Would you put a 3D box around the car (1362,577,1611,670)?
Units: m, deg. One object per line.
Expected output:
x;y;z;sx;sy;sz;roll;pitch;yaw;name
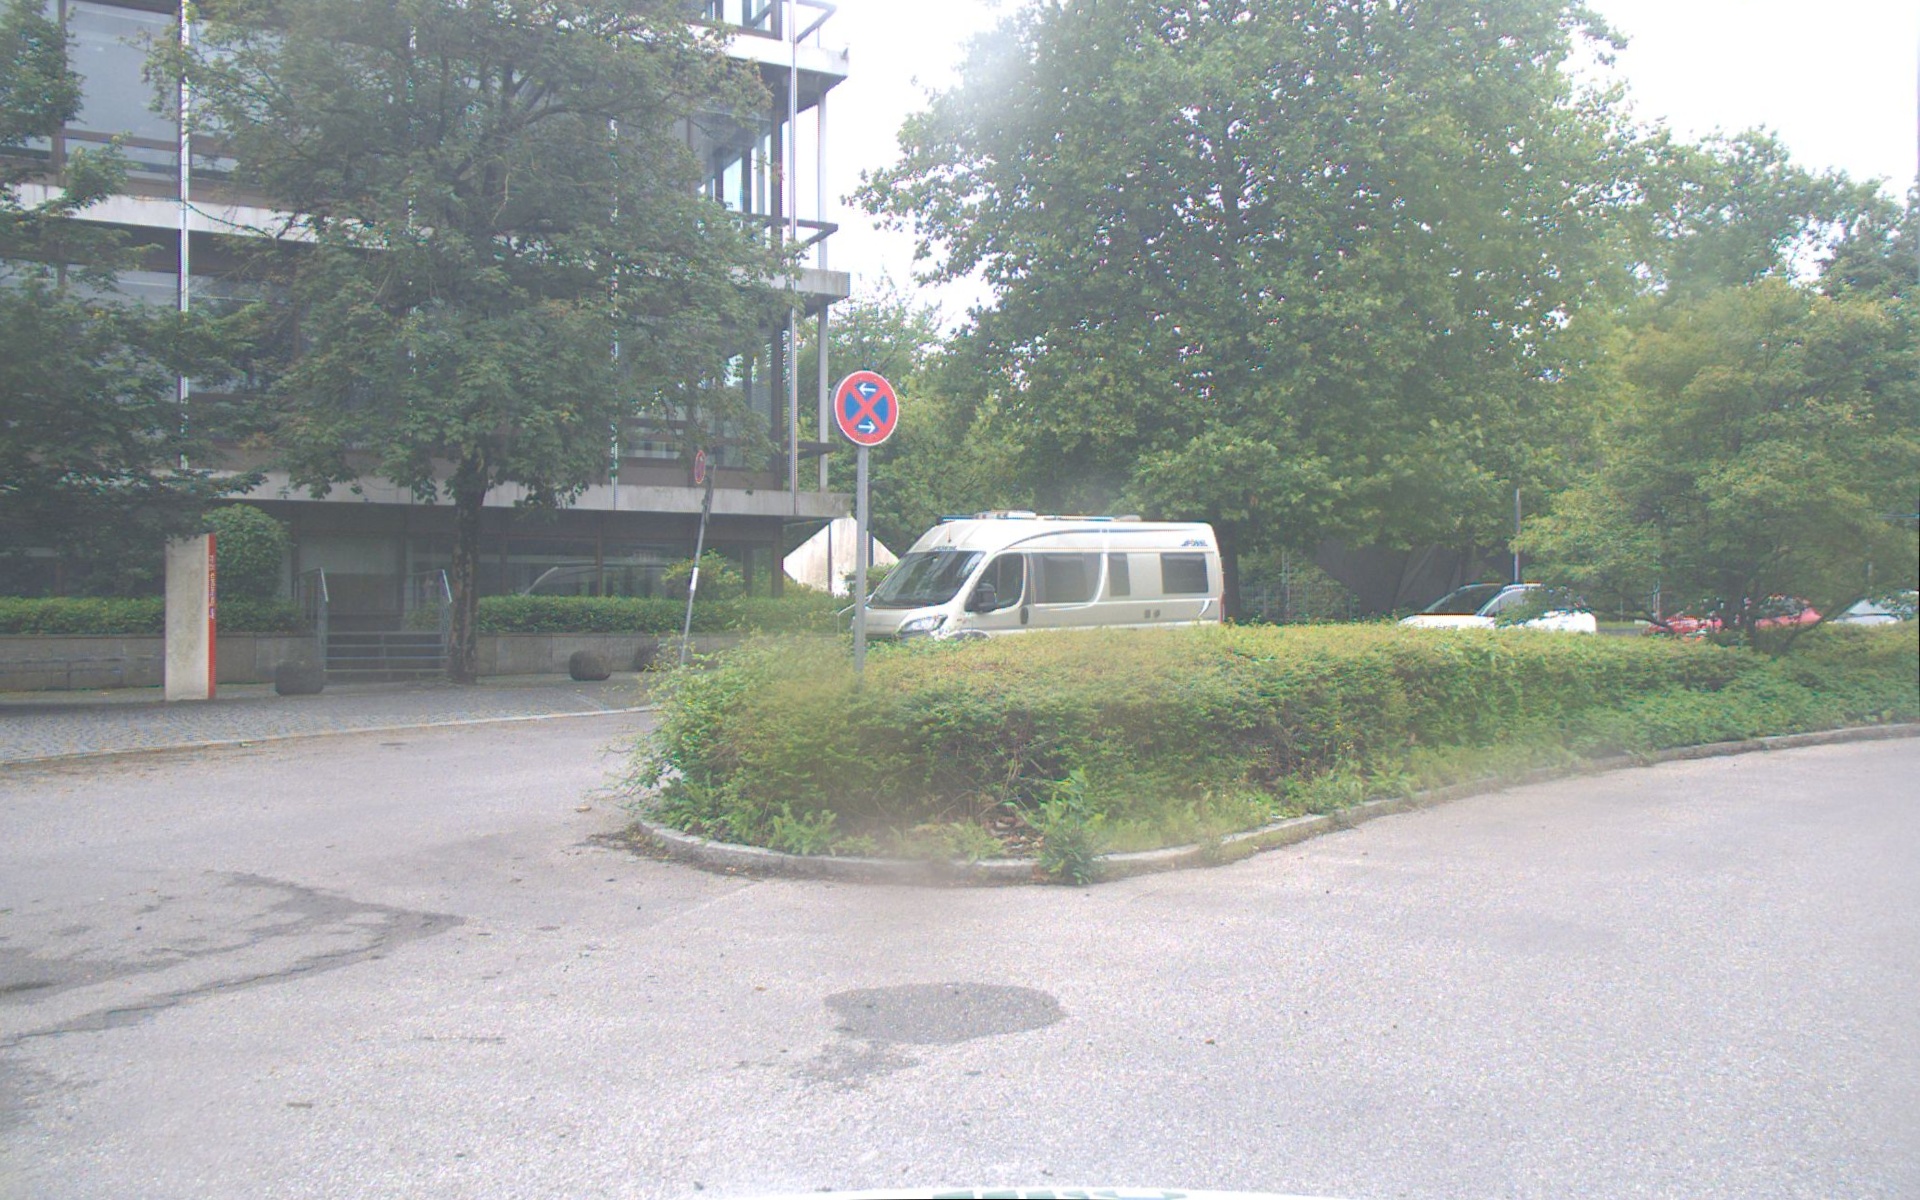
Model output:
9.259;0.382;29.082;3.940;1.534;1.982;0;0;-27;car

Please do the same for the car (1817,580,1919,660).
20.125;0.388;34.636;3.940;1.602;1.982;0;0;-27;car

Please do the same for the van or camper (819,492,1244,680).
1.182;-0.167;23.475;6.365;2.321;2.220;0;0;-43;van or camper

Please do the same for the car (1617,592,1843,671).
14.863;0.576;31.911;3.940;1.434;1.982;0;0;-27;car
